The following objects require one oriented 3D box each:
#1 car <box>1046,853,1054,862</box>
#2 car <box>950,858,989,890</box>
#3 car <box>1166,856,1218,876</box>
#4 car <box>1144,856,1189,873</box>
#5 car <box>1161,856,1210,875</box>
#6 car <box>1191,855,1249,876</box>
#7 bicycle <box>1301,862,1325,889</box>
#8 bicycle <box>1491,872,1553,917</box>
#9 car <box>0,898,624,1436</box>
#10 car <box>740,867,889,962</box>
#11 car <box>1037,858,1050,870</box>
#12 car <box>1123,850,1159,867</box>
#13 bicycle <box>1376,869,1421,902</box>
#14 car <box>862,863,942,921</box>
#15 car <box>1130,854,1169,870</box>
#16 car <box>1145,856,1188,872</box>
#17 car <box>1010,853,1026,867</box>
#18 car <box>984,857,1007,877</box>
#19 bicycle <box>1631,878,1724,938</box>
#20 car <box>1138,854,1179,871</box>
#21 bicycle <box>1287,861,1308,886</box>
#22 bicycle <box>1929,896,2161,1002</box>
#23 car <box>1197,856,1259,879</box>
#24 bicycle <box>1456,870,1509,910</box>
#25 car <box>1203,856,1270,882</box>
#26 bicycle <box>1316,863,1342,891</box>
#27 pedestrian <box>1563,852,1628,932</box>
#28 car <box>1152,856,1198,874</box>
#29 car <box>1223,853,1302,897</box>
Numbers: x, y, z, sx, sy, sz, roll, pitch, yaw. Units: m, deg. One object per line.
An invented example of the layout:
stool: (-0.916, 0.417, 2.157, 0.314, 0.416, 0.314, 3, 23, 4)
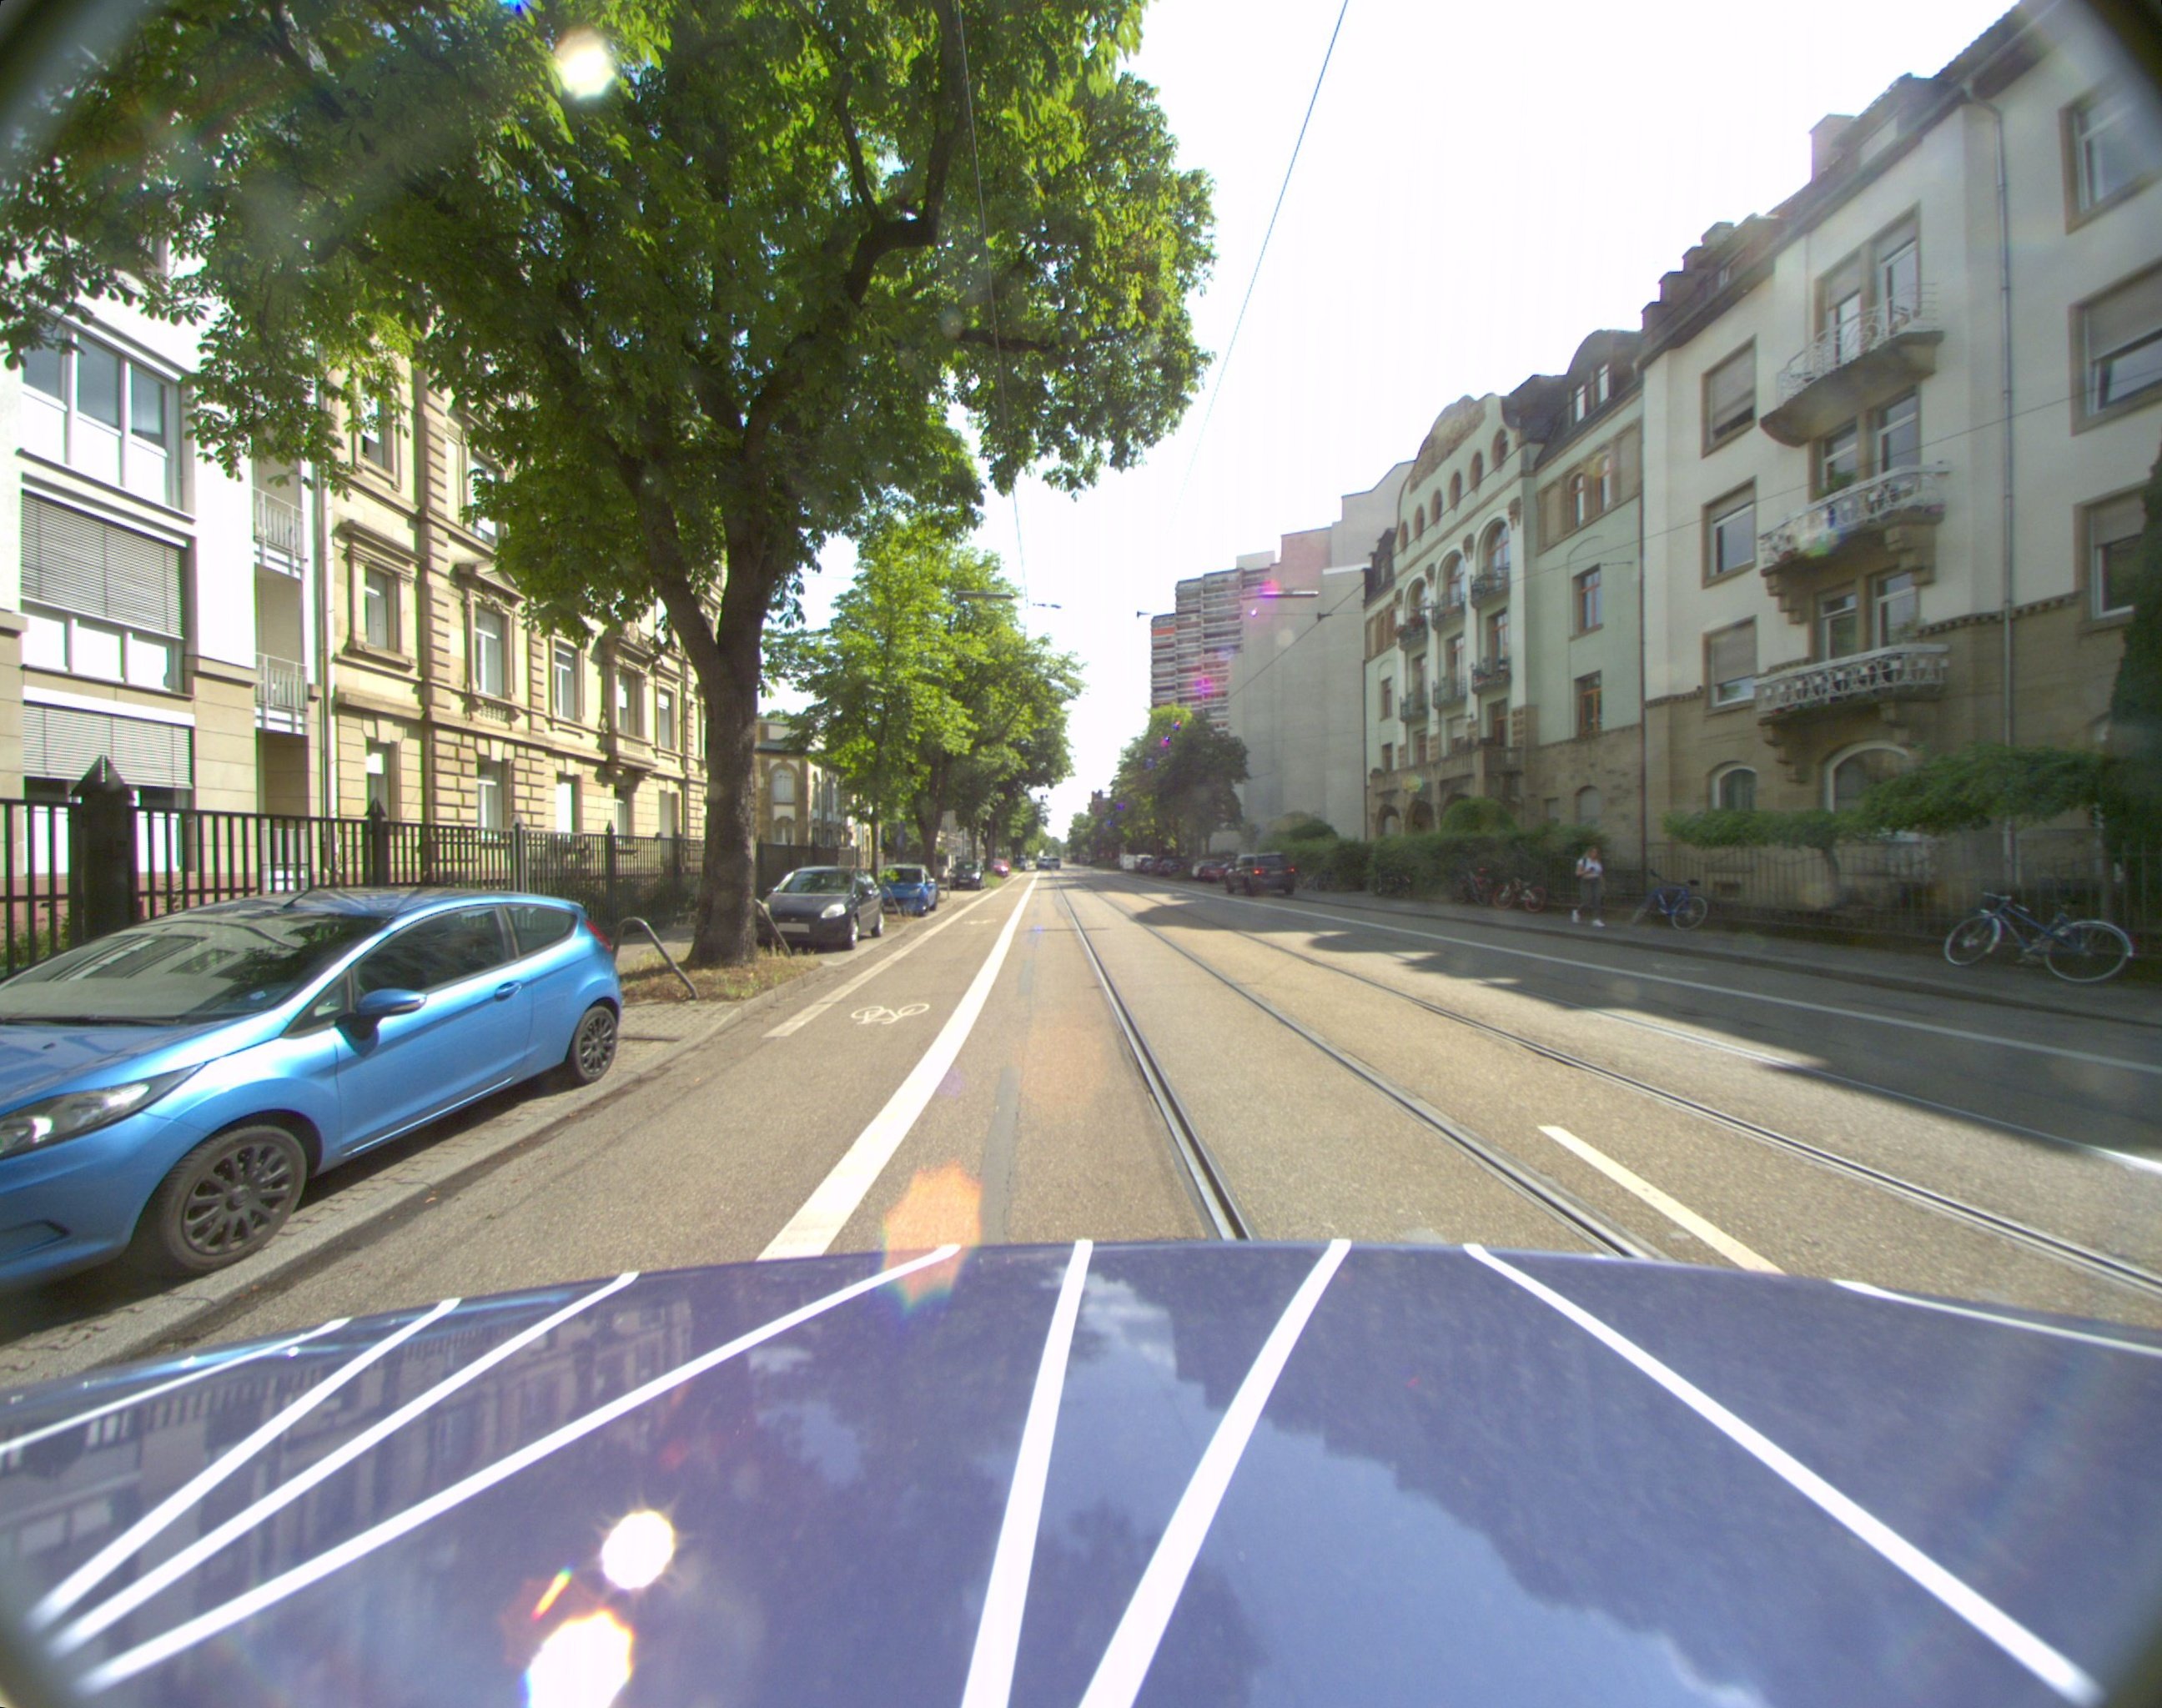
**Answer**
car: (-8.864, 0.875, 219.376, 2.146, 2.568, 4.817, -1, 0, -2)
car: (-5.997, 1.045, 41.139, 1.744, 1.564, 3.659, 2, 0, -4)
car: (8.852, 0.927, 60.631, 3.994, 1.499, 2.001, -1, 0, 8)
car: (7.910, 0.964, 70.121, 3.994, 1.499, 2.001, -1, 0, 8)
car: (8.775, 0.942, 63.787, 3.994, 1.499, 2.001, -1, 0, 8)
car: (9.956, 0.813, 54.575, 3.994, 1.499, 2.001, -1, 0, 8)
bicycle: (10.259, 0.933, 33.633, 0.468, 1.128, 1.787, -1, 0, 0)
bicycle: (10.751, 0.962, 18.591, 0.468, 0.990, 1.787, -1, 0, 0)
car: (-4.318, 1.097, 4.037, 1.647, 1.467, 3.660, 2, 0, -2)
car: (-4.851, 1.032, 14.339, 1.679, 1.467, 3.659, 2, 0, -4)
car: (-5.871, 1.560, 120.607, 1.974, 1.901, 4.817, -1, 0, -2)
car: (6.920, 0.539, 87.023, 1.994, 1.740, 4.008, -1, 1, 41)
bicycle: (10.238, 0.997, 24.580, 0.605, 0.990, 1.981, -1, 0, 0)
car: (-5.209, 1.057, 22.556, 1.679, 1.467, 3.659, 2, 0, -4)
car: (7.306, 0.873, 81.186, 3.994, 1.672, 2.001, -1, 0, 8)
car: (8.258, 0.960, 73.280, 3.994, 1.499, 2.001, -1, 0, 8)
car: (-7.316, 0.663, 88.781, 1.744, 1.564, 3.929, 2, 0, -4)
car: (-7.174, 1.107, 64.106, 1.744, 1.564, 3.929, 2, 0, -4)
bicycle: (11.014, 0.969, 14.104, 0.467, 0.990, 1.787, -1, 0, 5)
car: (7.861, 0.884, 76.756, 3.994, 1.672, 2.001, -1, 0, 8)
bicycle: (10.171, 0.890, 35.730, 0.468, 1.128, 1.787, -1, 0, 0)
bicycle: (11.130, 1.039, 8.859, 0.467, 0.990, 1.979, -1, 0, 7)
car: (9.800, 0.896, 51.028, 3.994, 1.499, 2.001, -1, 0, 8)
bicycle: (10.801, 0.956, 20.489, 0.468, 0.990, 1.787, -1, 0, 0)
car: (9.667, 0.930, 47.430, 3.994, 1.499, 2.001, -1, 0, 8)
bicycle: (10.329, 0.952, 31.690, 0.468, 1.128, 1.787, -1, 0, 0)
pedestrian: (10.112, 0.737, 14.966, 0.758, 1.532, 0.765, -1, 0, -1)
car: (8.296, 0.985, 66.909, 3.994, 1.499, 2.001, -1, 0, 8)
car: (7.424, 0.811, 31.569, 1.921, 1.685, 4.400, -1, 0, -4)
